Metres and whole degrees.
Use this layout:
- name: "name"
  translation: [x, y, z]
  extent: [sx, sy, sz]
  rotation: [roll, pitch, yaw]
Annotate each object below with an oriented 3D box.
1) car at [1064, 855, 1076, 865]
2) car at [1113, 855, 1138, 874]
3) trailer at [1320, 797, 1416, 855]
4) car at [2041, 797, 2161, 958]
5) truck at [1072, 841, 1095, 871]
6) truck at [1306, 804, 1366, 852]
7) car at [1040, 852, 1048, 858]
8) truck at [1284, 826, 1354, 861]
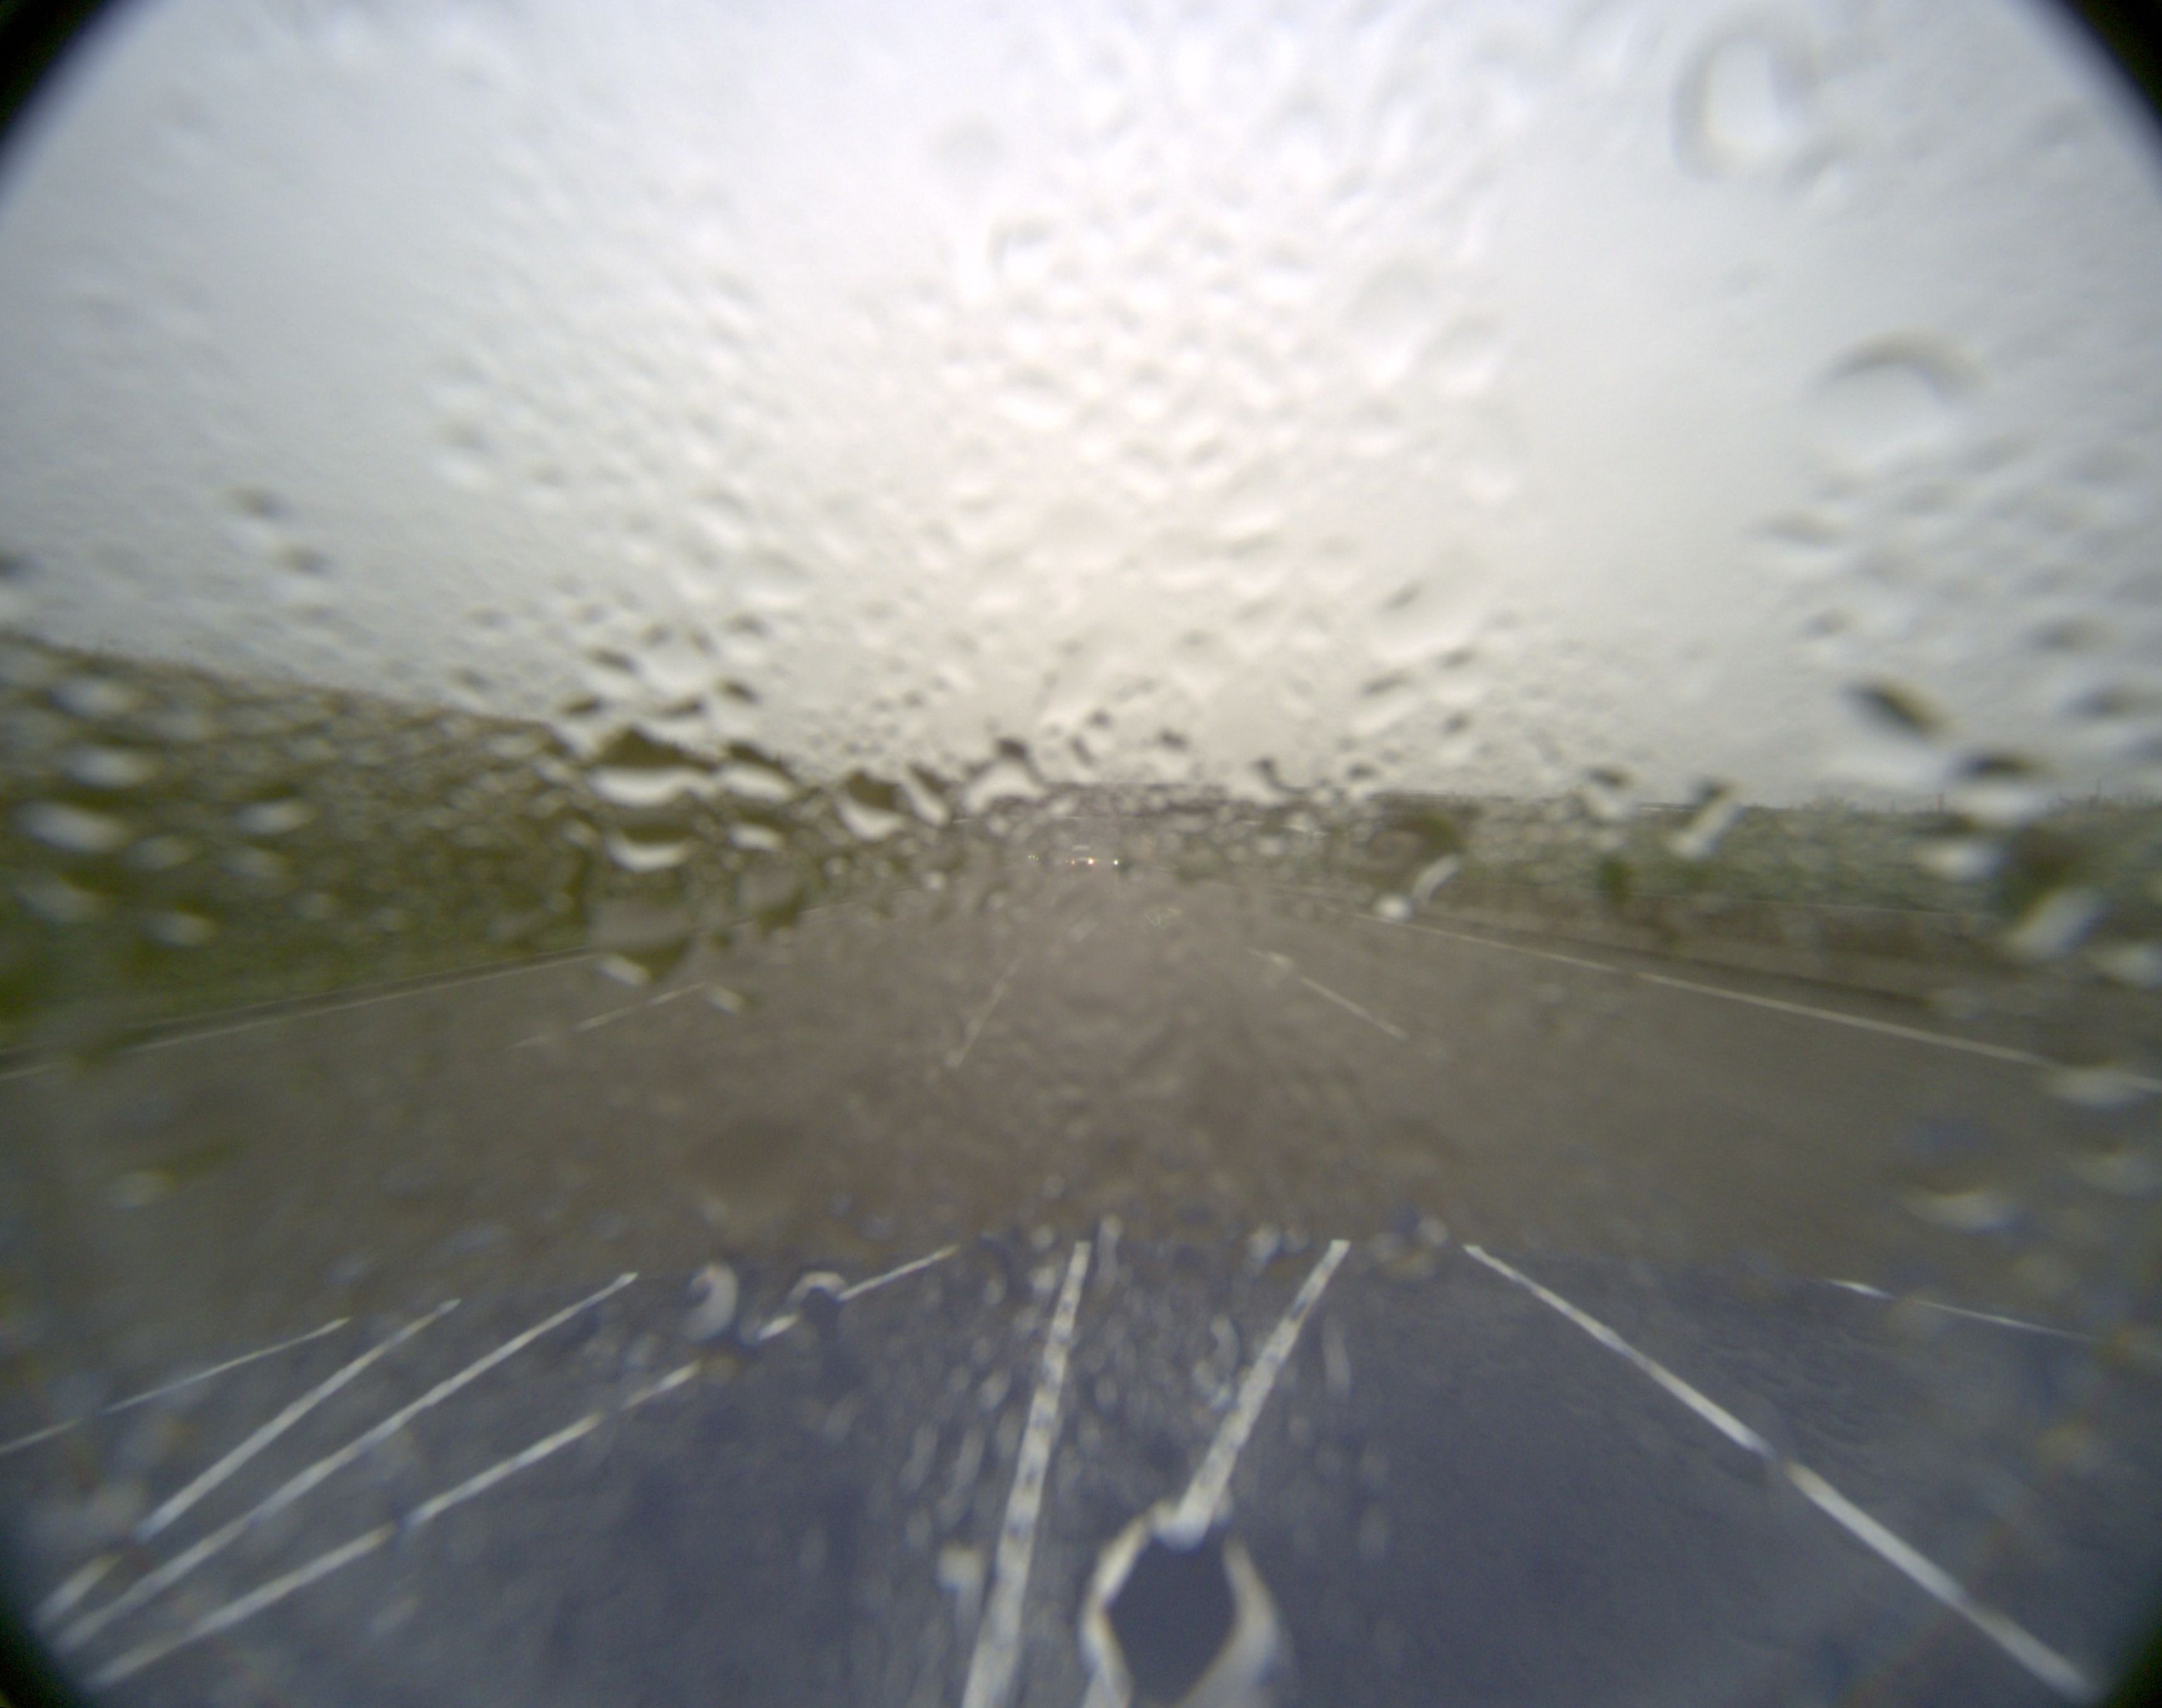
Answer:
- name: "car"
  translation: [-1.820, 1.022, 126.374]
  extent: [1.999, 1.521, 3.999]
  rotation: [-1, 0, -2]
- name: "car"
  translation: [4.211, 0.979, 72.300]
  extent: [1.999, 1.608, 3.999]
  rotation: [-1, 0, -1]
- name: "trailer"
  translation: [20.137, -1.930, 54.255]
  extent: [2.770, 3.600, 11.146]
  rotation: [-2, 1, 1]
- name: "car"
  translation: [12.218, 0.239, 7.408]
  extent: [1.491, 1.712, 3.353]
  rotation: [-1, 0, 0]
- name: "truck"
  translation: [0.233, 0.113, 75.888]
  extent: [1.998, 2.699, 7.997]
  rotation: [-2, 2, 0]
- name: "truck"
  translation: [20.204, -2.057, 60.526]
  extent: [2.786, 3.587, 5.737]
  rotation: [-2, 2, 0]
- name: "car"
  translation: [-9.792, 0.265, 201.552]
  extent: [1.998, 1.543, 4.000]
  rotation: [-2, 0, 1]
- name: "truck"
  translation: [16.192, -0.756, 52.311]
  extent: [2.481, 2.143, 7.423]
  rotation: [-2, 1, 0]
